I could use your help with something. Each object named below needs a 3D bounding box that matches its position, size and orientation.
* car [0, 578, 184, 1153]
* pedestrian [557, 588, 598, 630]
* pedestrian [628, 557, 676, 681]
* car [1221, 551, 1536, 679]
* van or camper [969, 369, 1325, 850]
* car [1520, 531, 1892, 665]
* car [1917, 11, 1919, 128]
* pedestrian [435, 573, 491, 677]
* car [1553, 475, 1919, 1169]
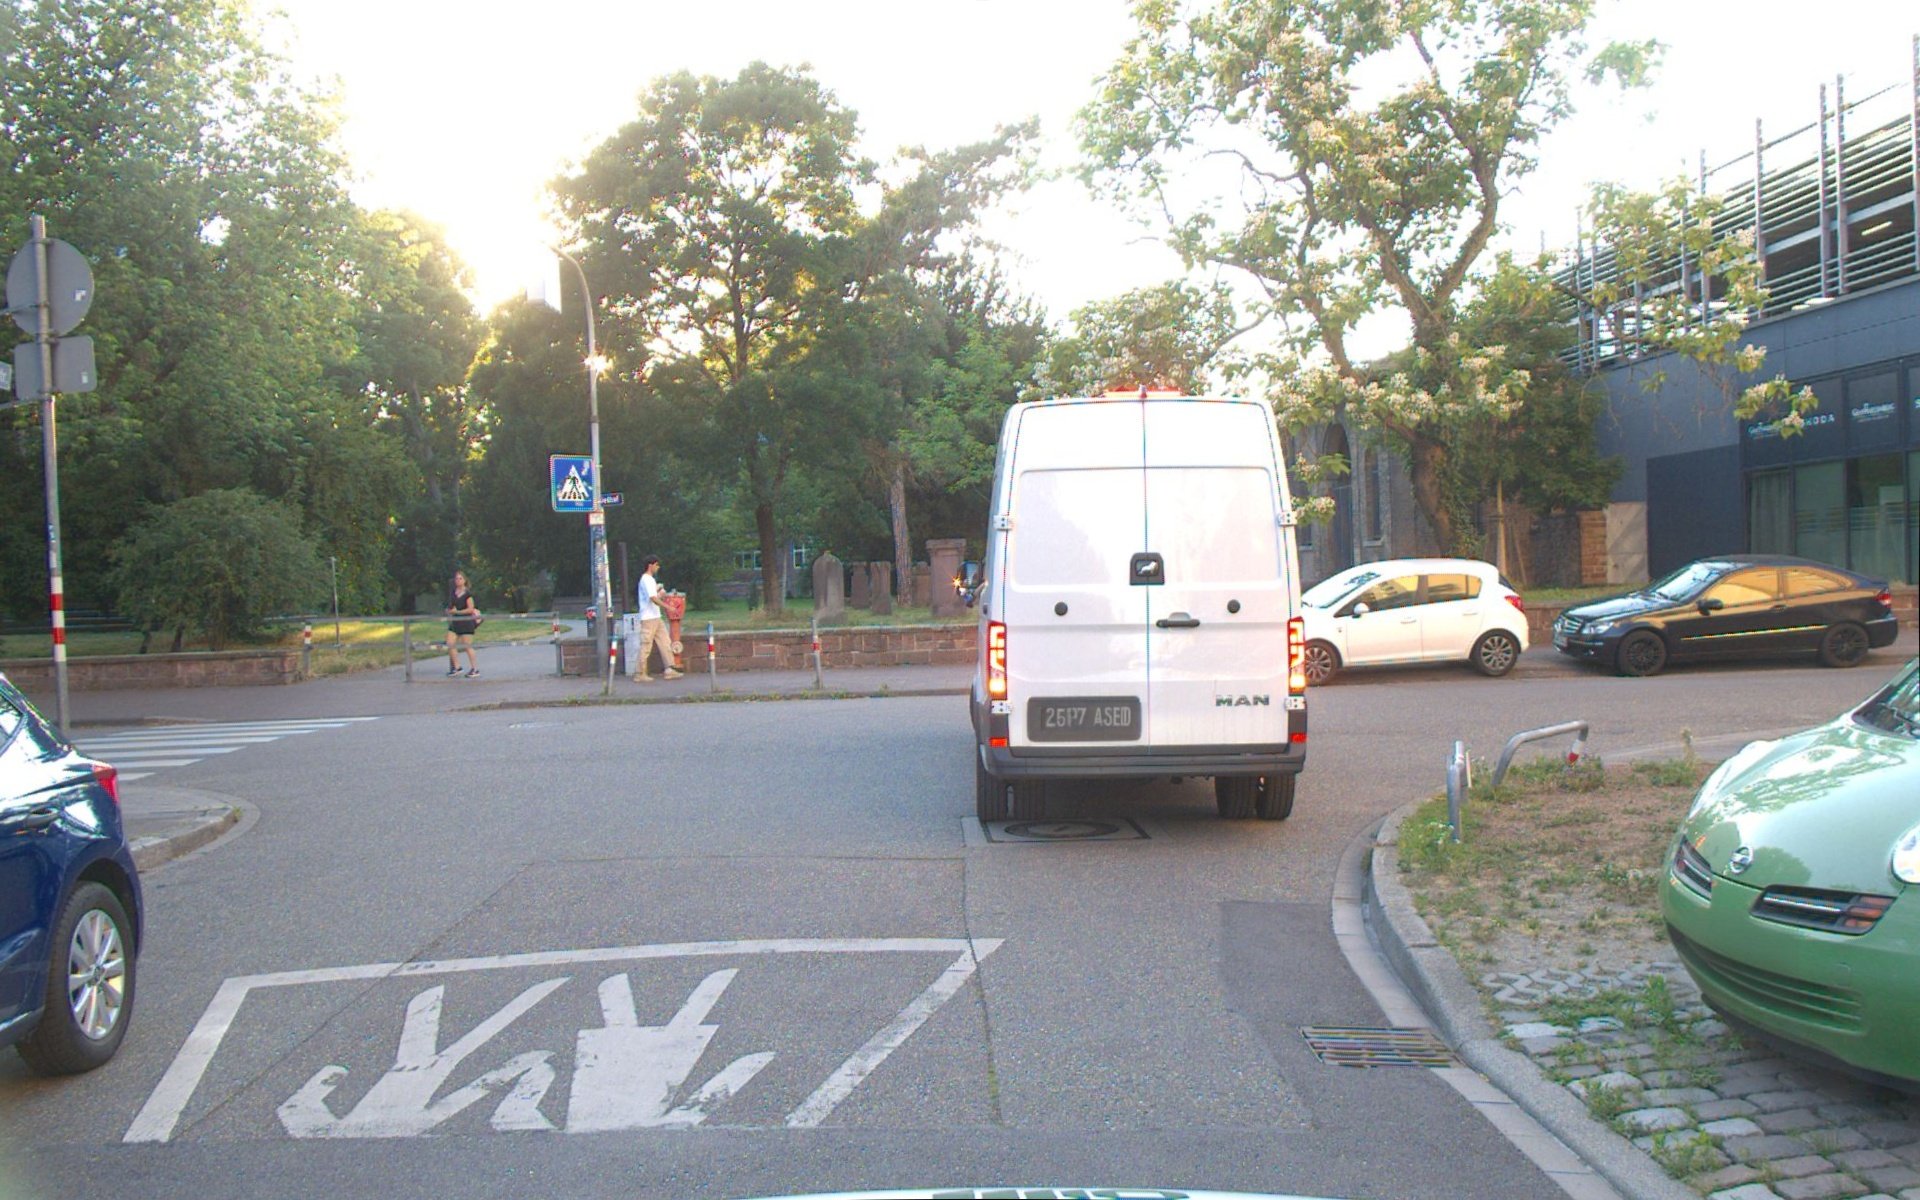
[{"bbox_3d":[-3.491,0.789,3.923,1.700,1.594,3.787,-3,1,-5],"label":"car"},{"bbox_3d":[-14.254,0.330,61.665,1.302,1.469,1.046,-2,1,-3],"label":"pedestrian"},{"bbox_3d":[-4.630,0.275,24.890,0.581,1.840,0.620,-1,0,-1],"label":"pedestrian"},{"bbox_3d":[5.683,0.181,22.783,3.779,1.601,1.957,-1,1,-4],"label":"car"},{"bbox_3d":[1.178,0.045,12.455,1.952,2.664,6.405,-1,0,2],"label":"van or camper"},{"bbox_3d":[10.059,-0.038,22.556,4.204,1.529,1.824,-3,0,2],"label":"car"},{"bbox_3d":[18.037,-9.496,27.610,1.952,2.049,4.002,-1,0,3],"label":"car"},{"bbox_3d":[-8.066,0.394,26.840,0.632,1.677,0.674,0,1,10],"label":"pedestrian"},{"bbox_3d":[4.343,0.434,5.065,4.318,1.660,1.844,-3,-1,-5],"label":"car"}]
